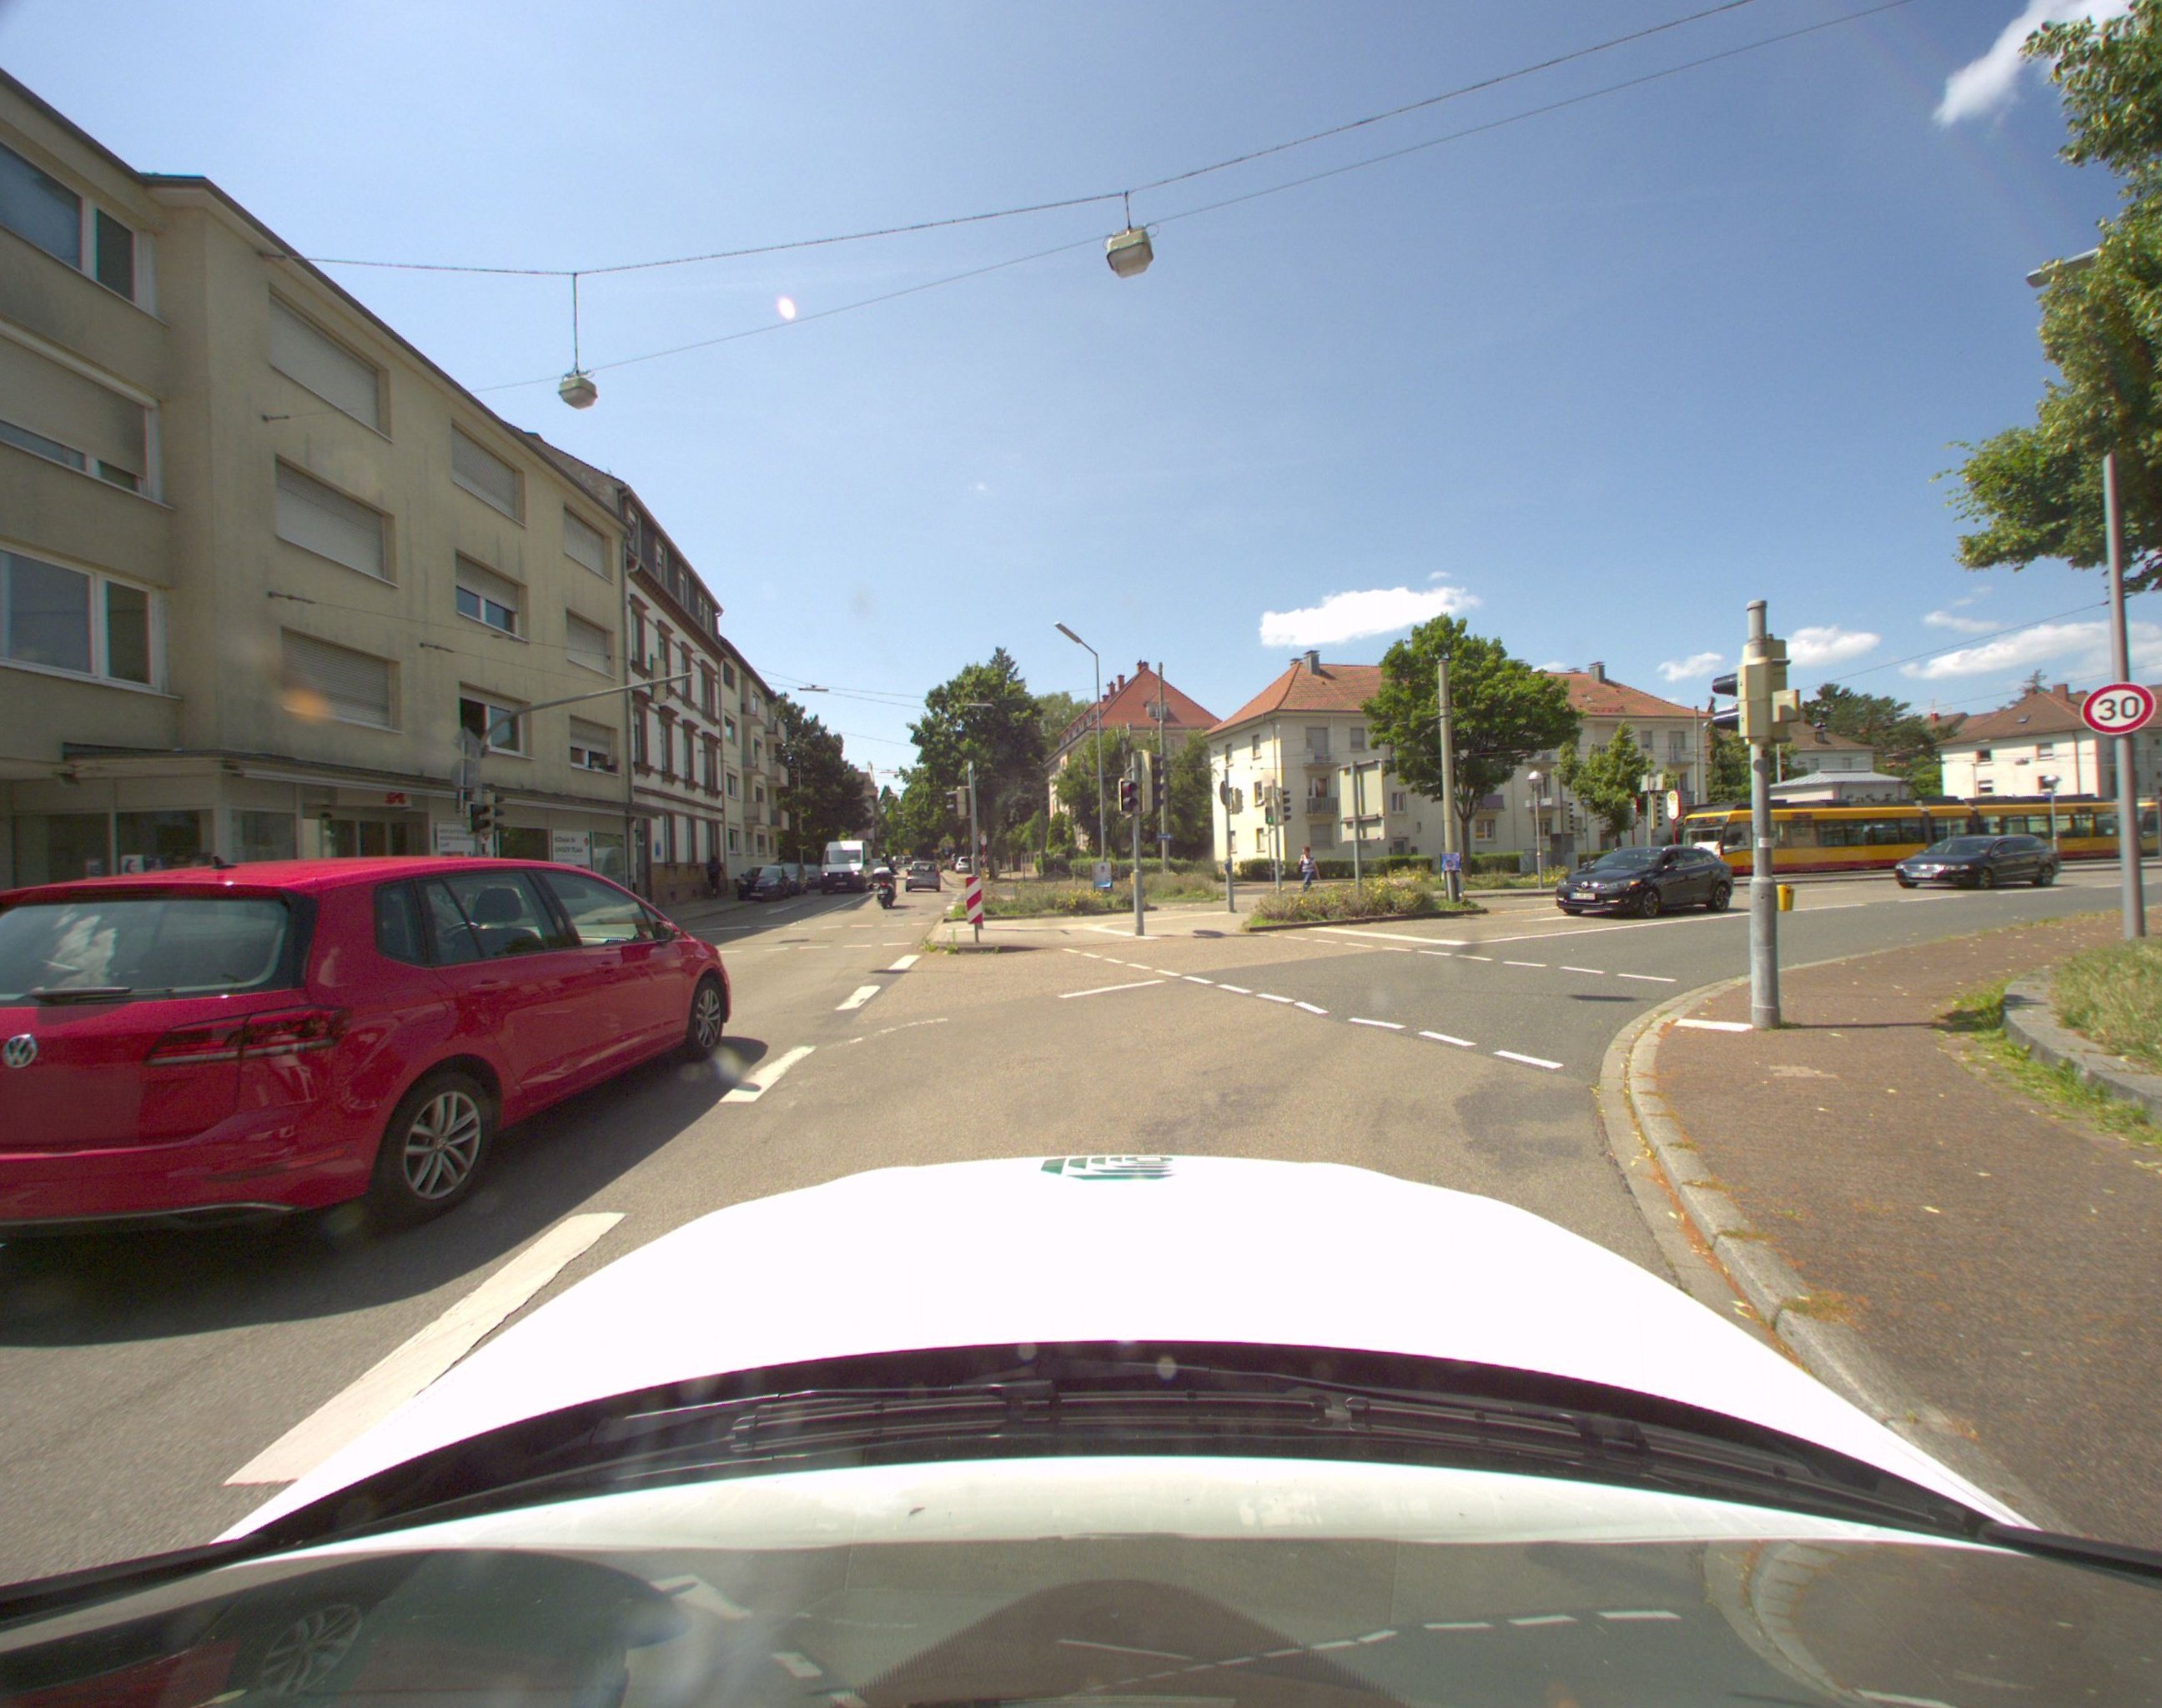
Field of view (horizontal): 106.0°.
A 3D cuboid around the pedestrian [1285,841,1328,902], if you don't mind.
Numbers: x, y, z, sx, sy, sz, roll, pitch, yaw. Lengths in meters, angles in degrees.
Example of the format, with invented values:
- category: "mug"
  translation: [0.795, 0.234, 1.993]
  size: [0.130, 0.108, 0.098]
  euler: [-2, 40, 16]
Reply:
- category: "pedestrian"
  translation: [6.439, 0.489, 23.255]
  size: [0.840, 1.705, 0.755]
  euler: [-1, 0, -27]

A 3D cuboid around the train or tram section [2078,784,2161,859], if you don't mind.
- category: "train or tram section"
  translation: [63.363, -1.904, 45.993]
  size: [15.528, 3.895, 2.780]
  euler: [-2, -1, -15]

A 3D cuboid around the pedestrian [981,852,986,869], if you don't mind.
- category: "pedestrian"
  translation: [-9.773, 0.623, 81.502]
  size: [0.508, 1.656, 0.464]
  euler: [-1, 0, -7]

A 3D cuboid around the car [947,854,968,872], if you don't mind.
- category: "car"
  translation: [-13.429, 0.954, 88.644]
  size: [1.995, 1.906, 3.983]
  euler: [-1, 0, -12]

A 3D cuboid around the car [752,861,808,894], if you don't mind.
- category: "car"
  translation: [-14.608, 1.122, 39.713]
  size: [1.995, 1.519, 3.982]
  euler: [-1, -1, -13]

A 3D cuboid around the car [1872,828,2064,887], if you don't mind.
- category: "car"
  translation: [25.713, 0.078, 23.633]
  size: [4.507, 1.519, 1.989]
  euler: [-1, 0, -17]

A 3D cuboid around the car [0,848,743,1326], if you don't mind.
- category: "car"
  translation: [-3.648, 0.780, 4.693]
  size: [1.794, 1.558, 4.034]
  euler: [-1, 0, -2]

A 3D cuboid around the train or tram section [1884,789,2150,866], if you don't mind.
- category: "train or tram section"
  translation: [47.948, -1.386, 41.656]
  size: [14.683, 3.568, 2.780]
  euler: [-2, -1, -15]

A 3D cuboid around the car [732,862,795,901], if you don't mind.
- category: "car"
  translation: [-13.590, 1.154, 35.088]
  size: [1.996, 1.519, 3.981]
  euler: [-1, -1, -13]

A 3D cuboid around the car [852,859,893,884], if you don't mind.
- category: "car"
  translation: [-14.364, 1.173, 56.330]
  size: [1.848, 1.557, 4.280]
  euler: [-4, 0, -4]

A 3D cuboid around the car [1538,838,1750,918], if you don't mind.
- category: "car"
  translation: [12.372, 0.468, 17.881]
  size: [4.436, 1.500, 1.982]
  euler: [-1, 0, -28]

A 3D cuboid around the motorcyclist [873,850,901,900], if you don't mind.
- category: "motorcyclist"
  translation: [-5.879, 0.619, 24.672]
  size: [0.711, 1.445, 1.016]
  euler: [-1, 0, -9]

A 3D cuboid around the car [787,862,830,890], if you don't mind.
- category: "car"
  translation: [-16.125, 1.268, 48.323]
  size: [1.996, 1.510, 3.982]
  euler: [-2, 0, -13]

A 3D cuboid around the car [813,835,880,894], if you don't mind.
- category: "car"
  translation: [-11.631, 0.503, 40.893]
  size: [2.216, 2.501, 7.528]
  euler: [-5, 0, -10]

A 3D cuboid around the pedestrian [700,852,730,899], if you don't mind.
- category: "pedestrian"
  translation: [-15.428, 0.894, 34.326]
  size: [0.936, 1.931, 0.973]
  euler: [-1, -1, -12]

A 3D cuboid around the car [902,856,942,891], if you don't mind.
- category: "car"
  translation: [-7.731, 0.930, 39.827]
  size: [1.799, 1.558, 4.023]
  euler: [-1, 0, -10]

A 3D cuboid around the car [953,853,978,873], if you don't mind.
- category: "car"
  translation: [-10.731, 0.825, 75.492]
  size: [1.995, 1.807, 3.983]
  euler: [-1, 0, -12]

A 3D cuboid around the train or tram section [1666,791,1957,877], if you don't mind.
- category: "train or tram section"
  translation: [34.060, -0.993, 37.862]
  size: [14.159, 3.568, 2.804]
  euler: [-2, -1, -15]

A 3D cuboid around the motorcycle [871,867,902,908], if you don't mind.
- category: "motorcycle"
  translation: [-5.892, 0.996, 24.775]
  size: [0.711, 1.134, 2.190]
  euler: [-1, 0, -9]
